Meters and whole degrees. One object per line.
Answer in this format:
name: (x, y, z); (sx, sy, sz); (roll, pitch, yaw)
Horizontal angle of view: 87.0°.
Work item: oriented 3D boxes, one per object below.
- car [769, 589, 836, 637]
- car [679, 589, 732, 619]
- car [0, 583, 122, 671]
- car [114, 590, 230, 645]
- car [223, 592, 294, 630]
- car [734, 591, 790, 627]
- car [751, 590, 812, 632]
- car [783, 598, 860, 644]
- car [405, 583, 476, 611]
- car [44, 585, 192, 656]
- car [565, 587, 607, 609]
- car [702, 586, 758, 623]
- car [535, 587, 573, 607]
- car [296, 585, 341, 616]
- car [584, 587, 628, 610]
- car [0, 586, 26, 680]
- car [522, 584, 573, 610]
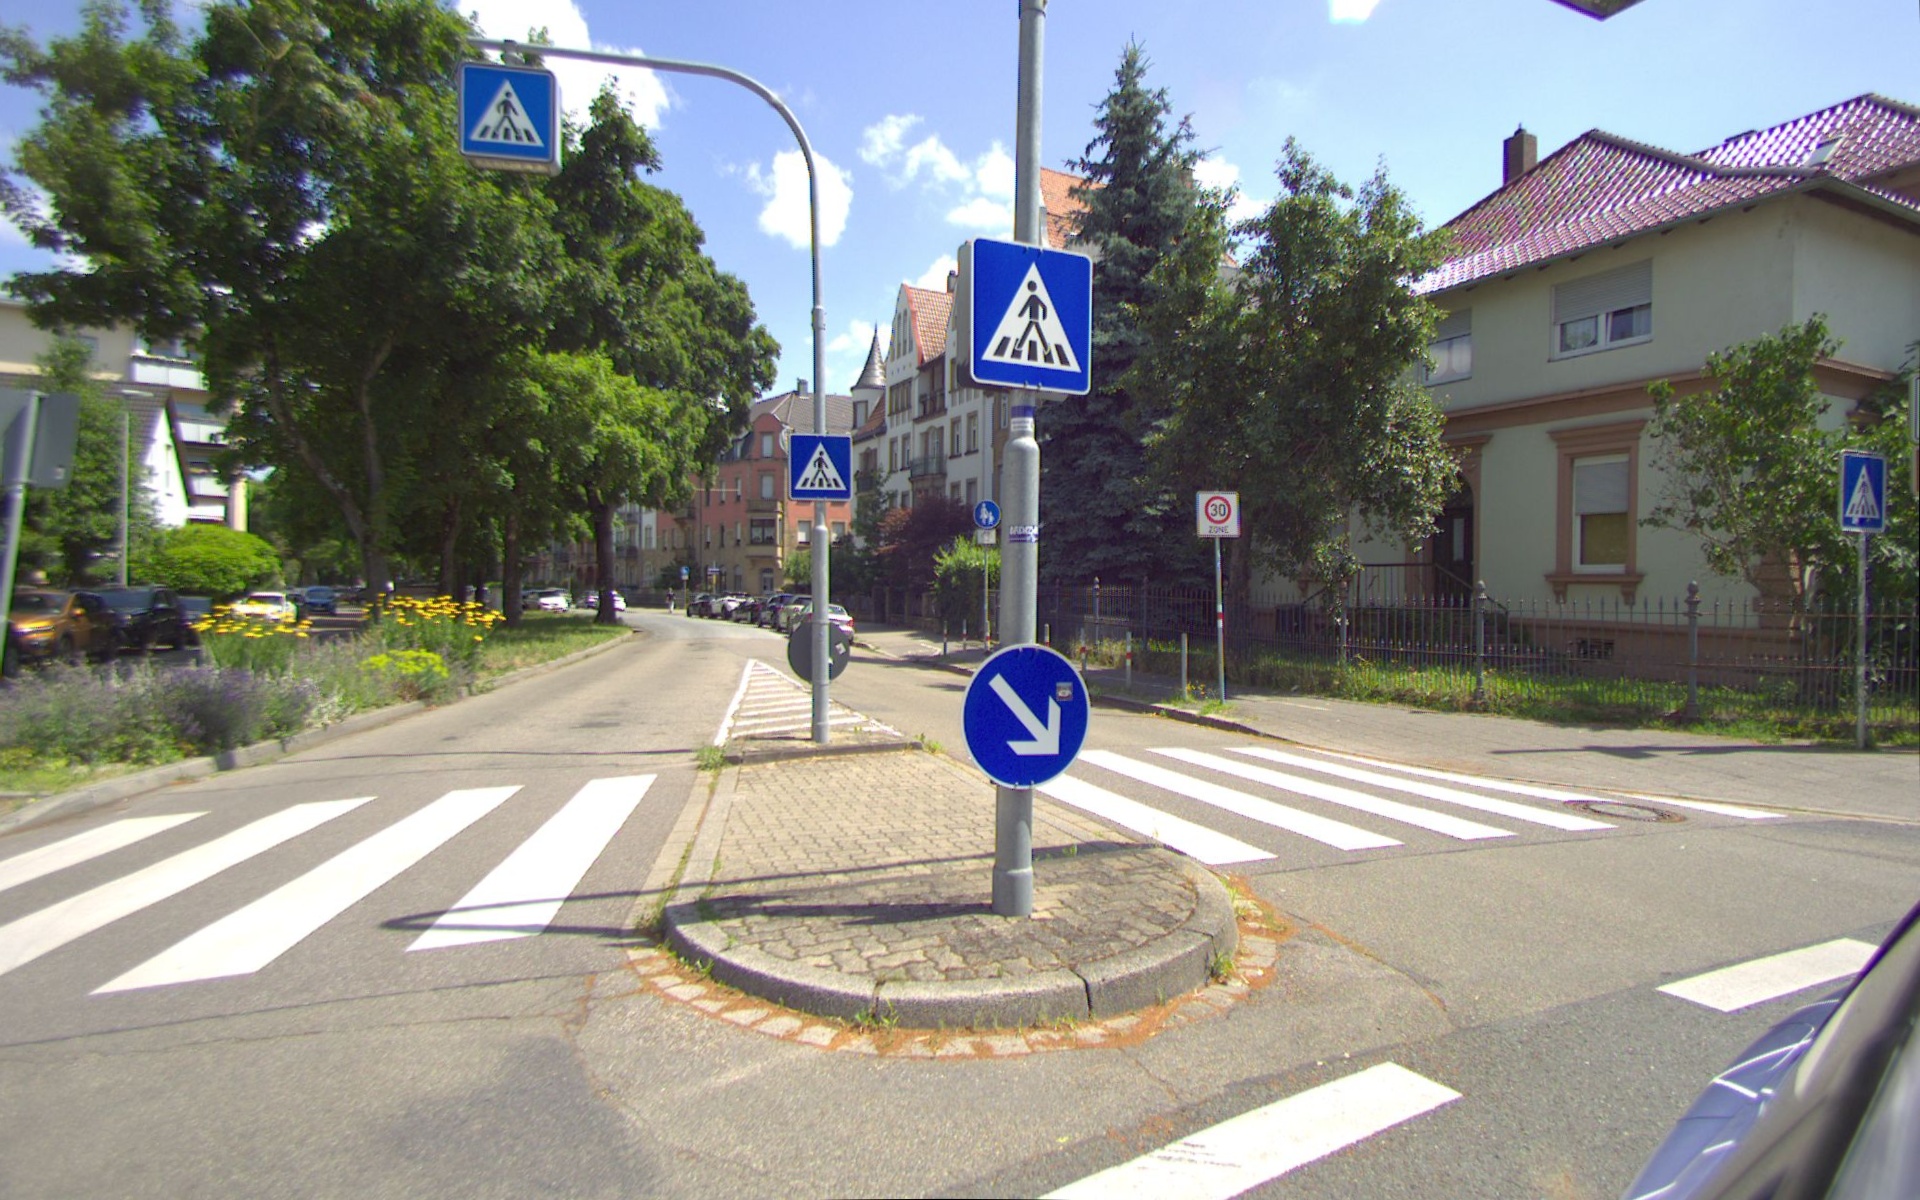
car: (-6.024, 0.444, 38.322); (1.737, 1.535, 4.009); (6, -1, -18)
car: (-14.435, 0.196, 57.361); (1.739, 1.408, 3.879); (6, -1, -31)
car: (-18.421, 0.462, 20.077); (1.802, 1.577, 4.007); (0, 1, -25)
car: (-22.917, 0.444, 29.595); (1.802, 1.475, 4.007); (0, 1, -25)
car: (-28.322, 0.396, 40.961); (1.802, 1.456, 4.006); (0, 0, -26)
car: (-9.460, 0.402, 48.104); (1.737, 1.406, 4.008); (6, -1, -22)
car: (-7.641, 0.432, 43.124); (1.737, 1.535, 4.009); (6, -1, -20)
car: (-4.625, 0.660, 33.337); (1.780, 1.343, 4.008); (3, -1, -18)
car: (-35.638, -0.186, 69.508); (3.919, 1.883, 1.927); (0, 1, -7)
car: (-20.510, 0.431, 24.840); (1.802, 1.577, 4.007); (0, 1, -25)
car: (-29.229, -0.203, 79.106); (1.963, 1.638, 4.183); (0, 1, -37)
car: (-12.182, 0.213, 53.479); (1.739, 1.634, 3.880); (6, -1, -30)
car: (-34.644, -0.273, 86.304); (1.963, 1.638, 4.183); (0, 1, -37)
car: (-38.311, 0.022, 60.513); (1.802, 1.756, 4.006); (0, 0, -26)
car: (-26.395, -0.163, 75.401); (1.963, 1.638, 4.183); (0, 1, -37)
car: (-16.185, 0.541, 15.547); (1.679, 1.545, 3.860); (1, 0, -27)
car: (-27.764, -0.230, 68.027); (1.965, 1.638, 4.179); (0, 1, -41)
